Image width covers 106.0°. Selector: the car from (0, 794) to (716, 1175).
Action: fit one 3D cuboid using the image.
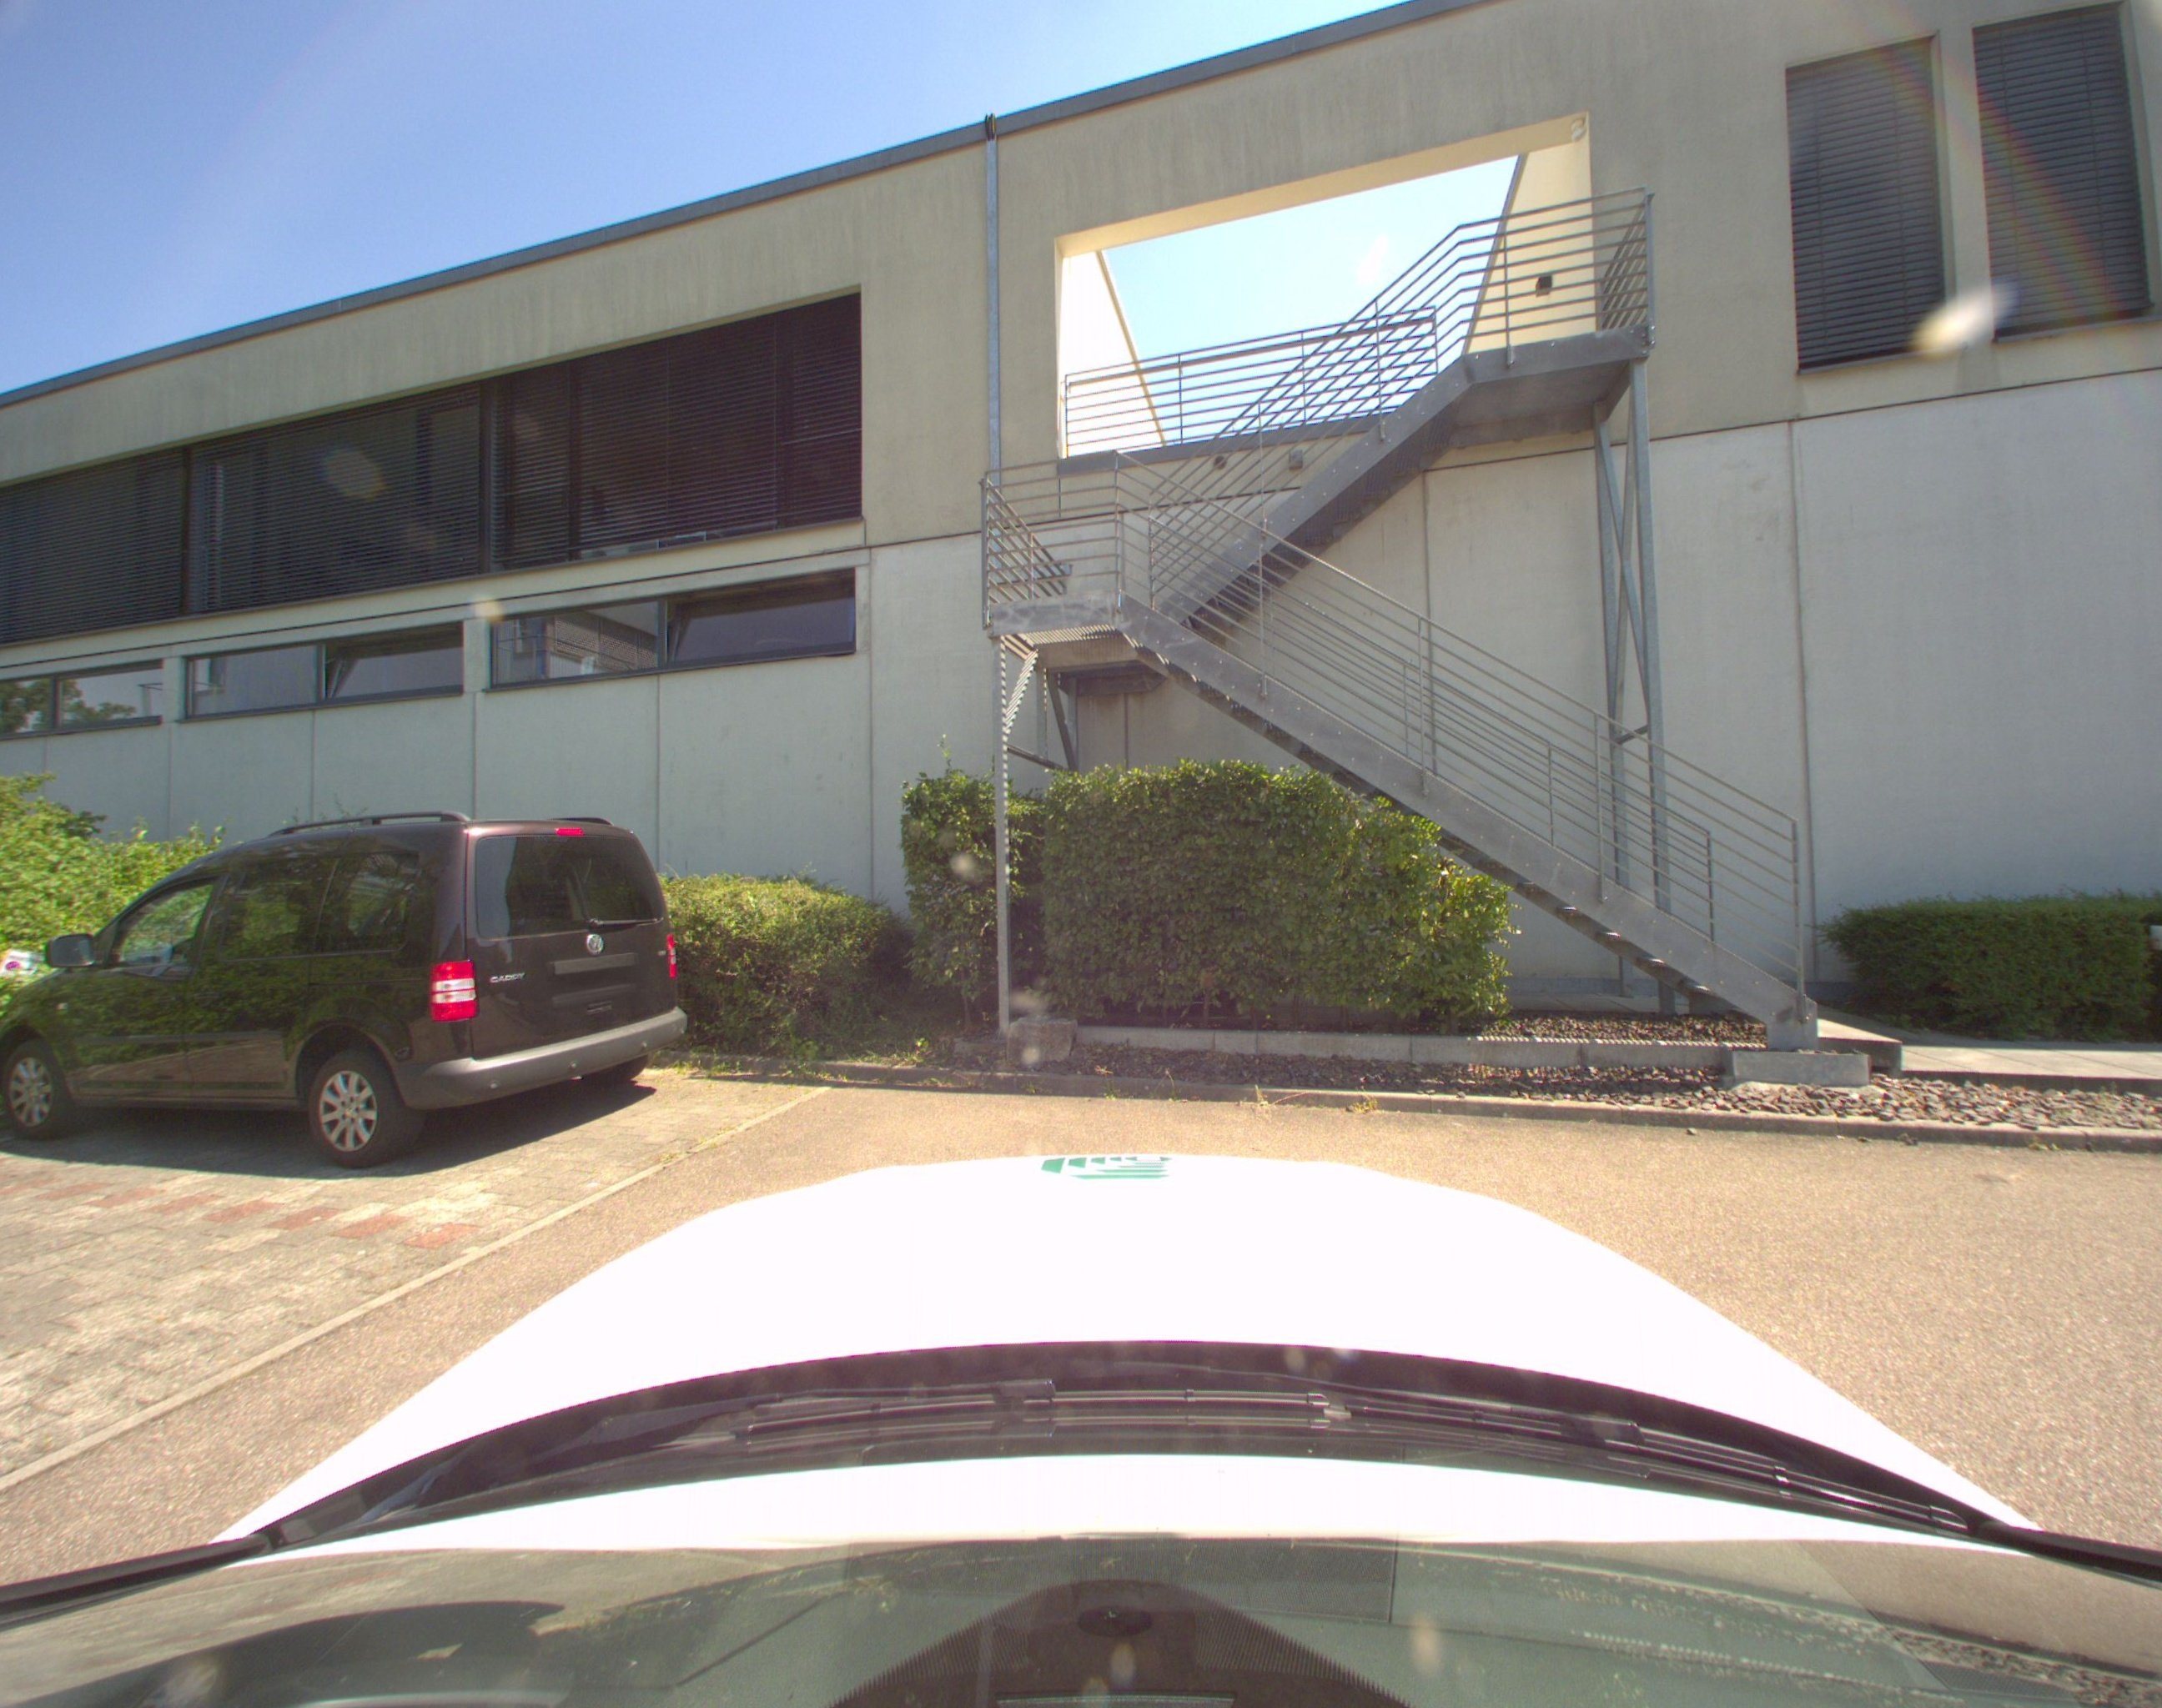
[{"bbox_3d":[-4.723,0.696,5.386,4.027,1.884,1.686,-2,-1,16],"label":"car"}]
